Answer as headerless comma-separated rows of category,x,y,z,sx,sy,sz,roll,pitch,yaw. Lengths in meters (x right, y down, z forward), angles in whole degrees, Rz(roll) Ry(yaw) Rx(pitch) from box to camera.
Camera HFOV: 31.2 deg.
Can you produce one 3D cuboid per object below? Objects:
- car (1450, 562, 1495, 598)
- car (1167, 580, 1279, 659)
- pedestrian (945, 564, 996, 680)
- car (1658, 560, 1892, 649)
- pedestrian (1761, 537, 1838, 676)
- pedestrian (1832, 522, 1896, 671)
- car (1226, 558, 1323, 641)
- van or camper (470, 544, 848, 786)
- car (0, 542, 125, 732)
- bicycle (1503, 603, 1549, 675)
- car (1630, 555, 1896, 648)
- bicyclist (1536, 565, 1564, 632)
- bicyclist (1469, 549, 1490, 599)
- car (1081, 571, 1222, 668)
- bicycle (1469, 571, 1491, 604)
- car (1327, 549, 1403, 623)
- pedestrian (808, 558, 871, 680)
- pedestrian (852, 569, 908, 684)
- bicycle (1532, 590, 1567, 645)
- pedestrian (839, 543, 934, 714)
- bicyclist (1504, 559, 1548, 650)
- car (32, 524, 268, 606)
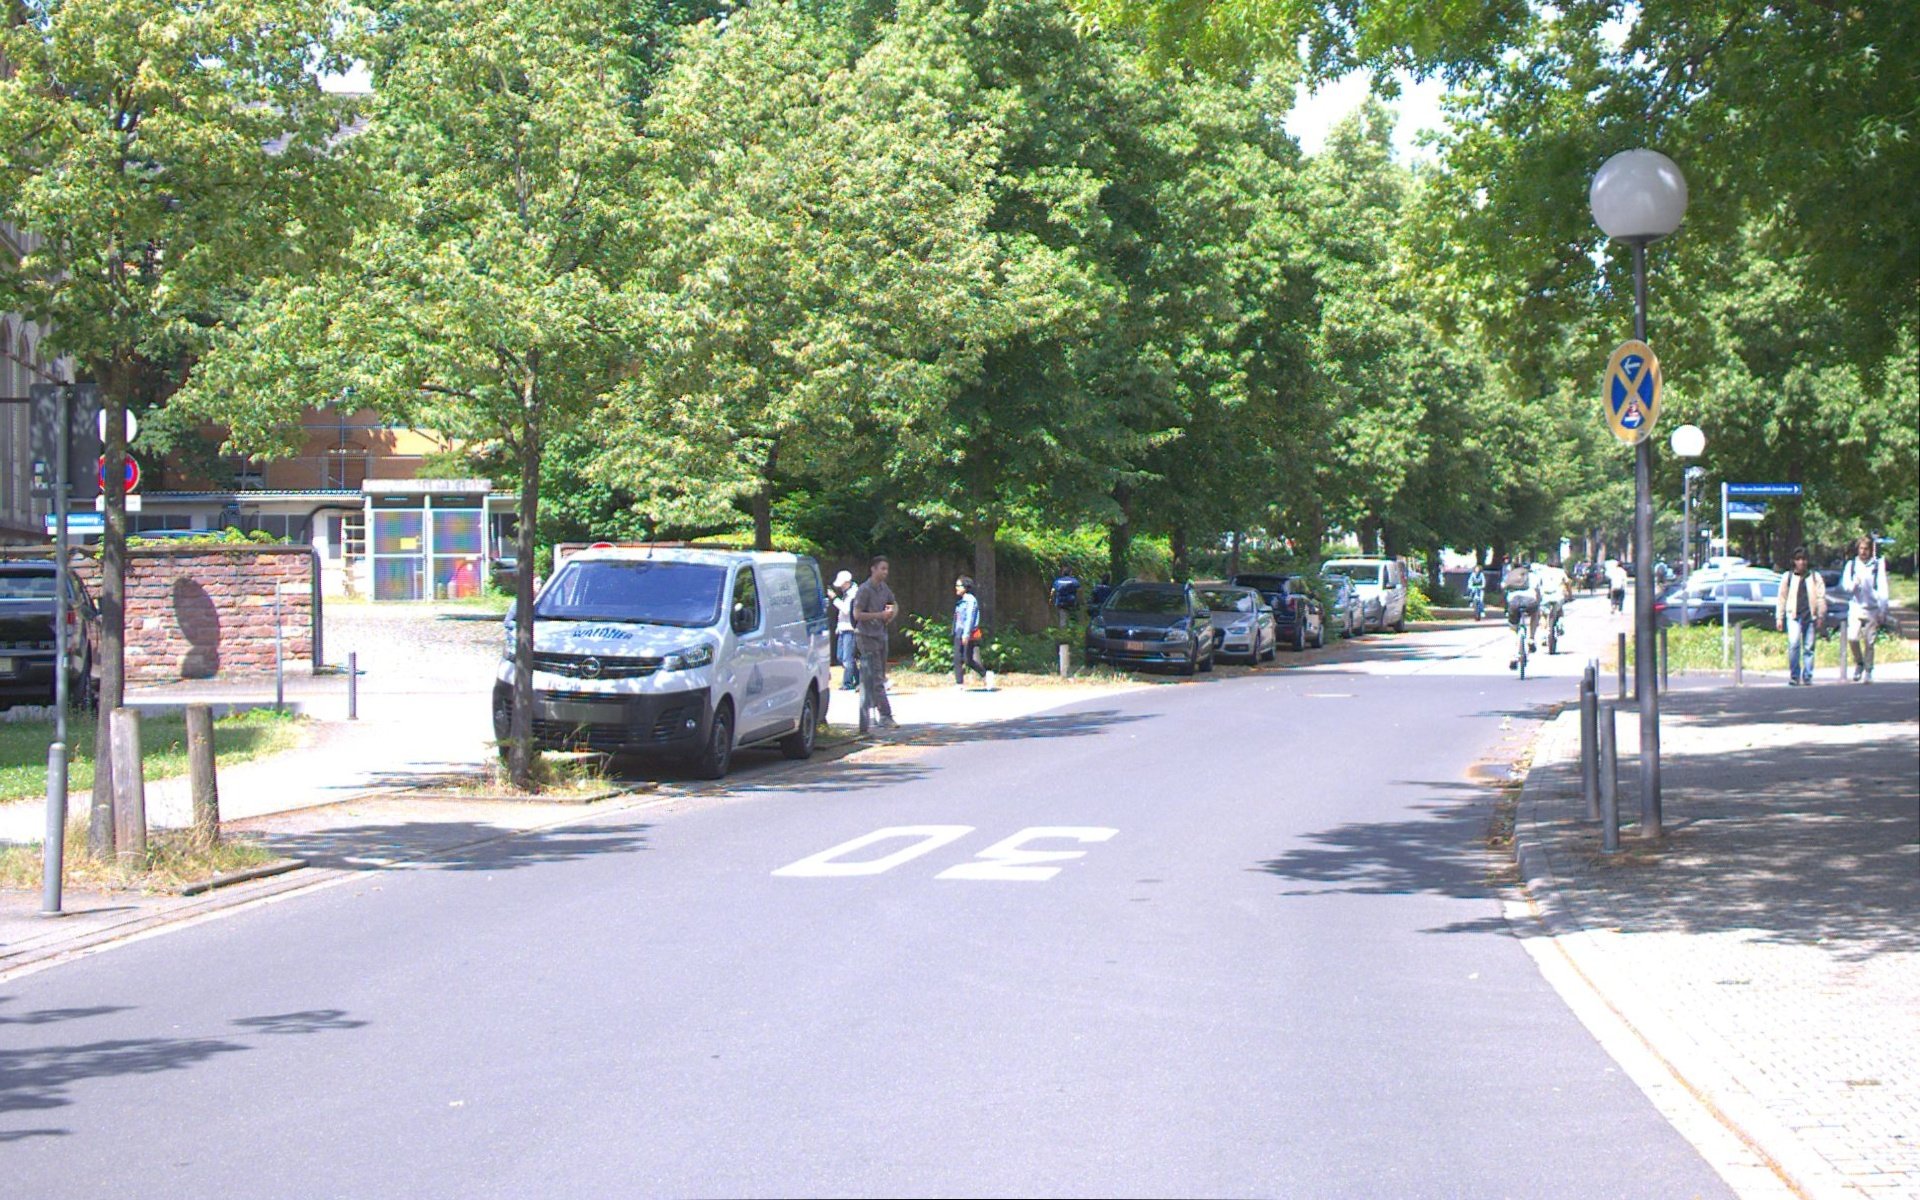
car,19.986,-0.778,133.947,1.616,1.360,3.998,0,1,10
car,4.911,0.336,63.836,1.616,1.383,3.998,0,1,11
pedestrian,0.143,0.301,47.359,0.494,1.580,0.494,-1,1,-37
car,15.558,0.077,65.744,4.259,1.583,1.809,-1,0,12
pedestrian,10.682,0.082,43.731,0.822,1.749,0.839,0,1,22
pedestrian,11.480,-0.045,43.662,0.672,1.866,0.791,0,0,23
car,6.644,-0.032,72.341,1.616,1.673,3.998,0,1,11
van or camper,-2.519,0.484,30.335,1.954,1.916,5.418,1,1,10
car,-10.295,0.354,37.389,2.174,1.919,5.188,-1,1,-12
bicycle,8.124,0.555,49.319,0.614,0.997,1.423,0,1,11
car,14.221,0.014,61.017,4.488,1.520,1.809,-1,0,12
bicyclist,11.412,-0.029,66.471,0.522,1.291,0.610,0,0,11
bicyclist,15.793,-0.794,104.505,0.563,1.493,0.827,0,0,11
car,3.176,0.297,56.399,1.760,1.516,4.109,0,1,11
bicycle,15.809,-0.393,104.524,0.578,0.997,1.423,0,1,11
car,10.292,-0.364,87.213,1.616,1.809,3.998,0,1,11
pedestrian,-1.661,0.252,47.237,0.627,1.657,0.603,-1,1,-35
pedestrian,-1.079,0.353,46.139,0.584,1.522,0.494,-1,0,-26
bicycle,11.383,0.333,66.329,0.614,0.997,1.423,-1,1,11
pedestrian,-0.803,0.305,37.610,0.725,1.851,0.790,0,0,29
bicyclist,8.129,0.059,49.365,0.610,1.291,0.610,0,0,11
car,-15.500,-0.682,65.789,4.088,1.512,1.757,-1,1,-26
